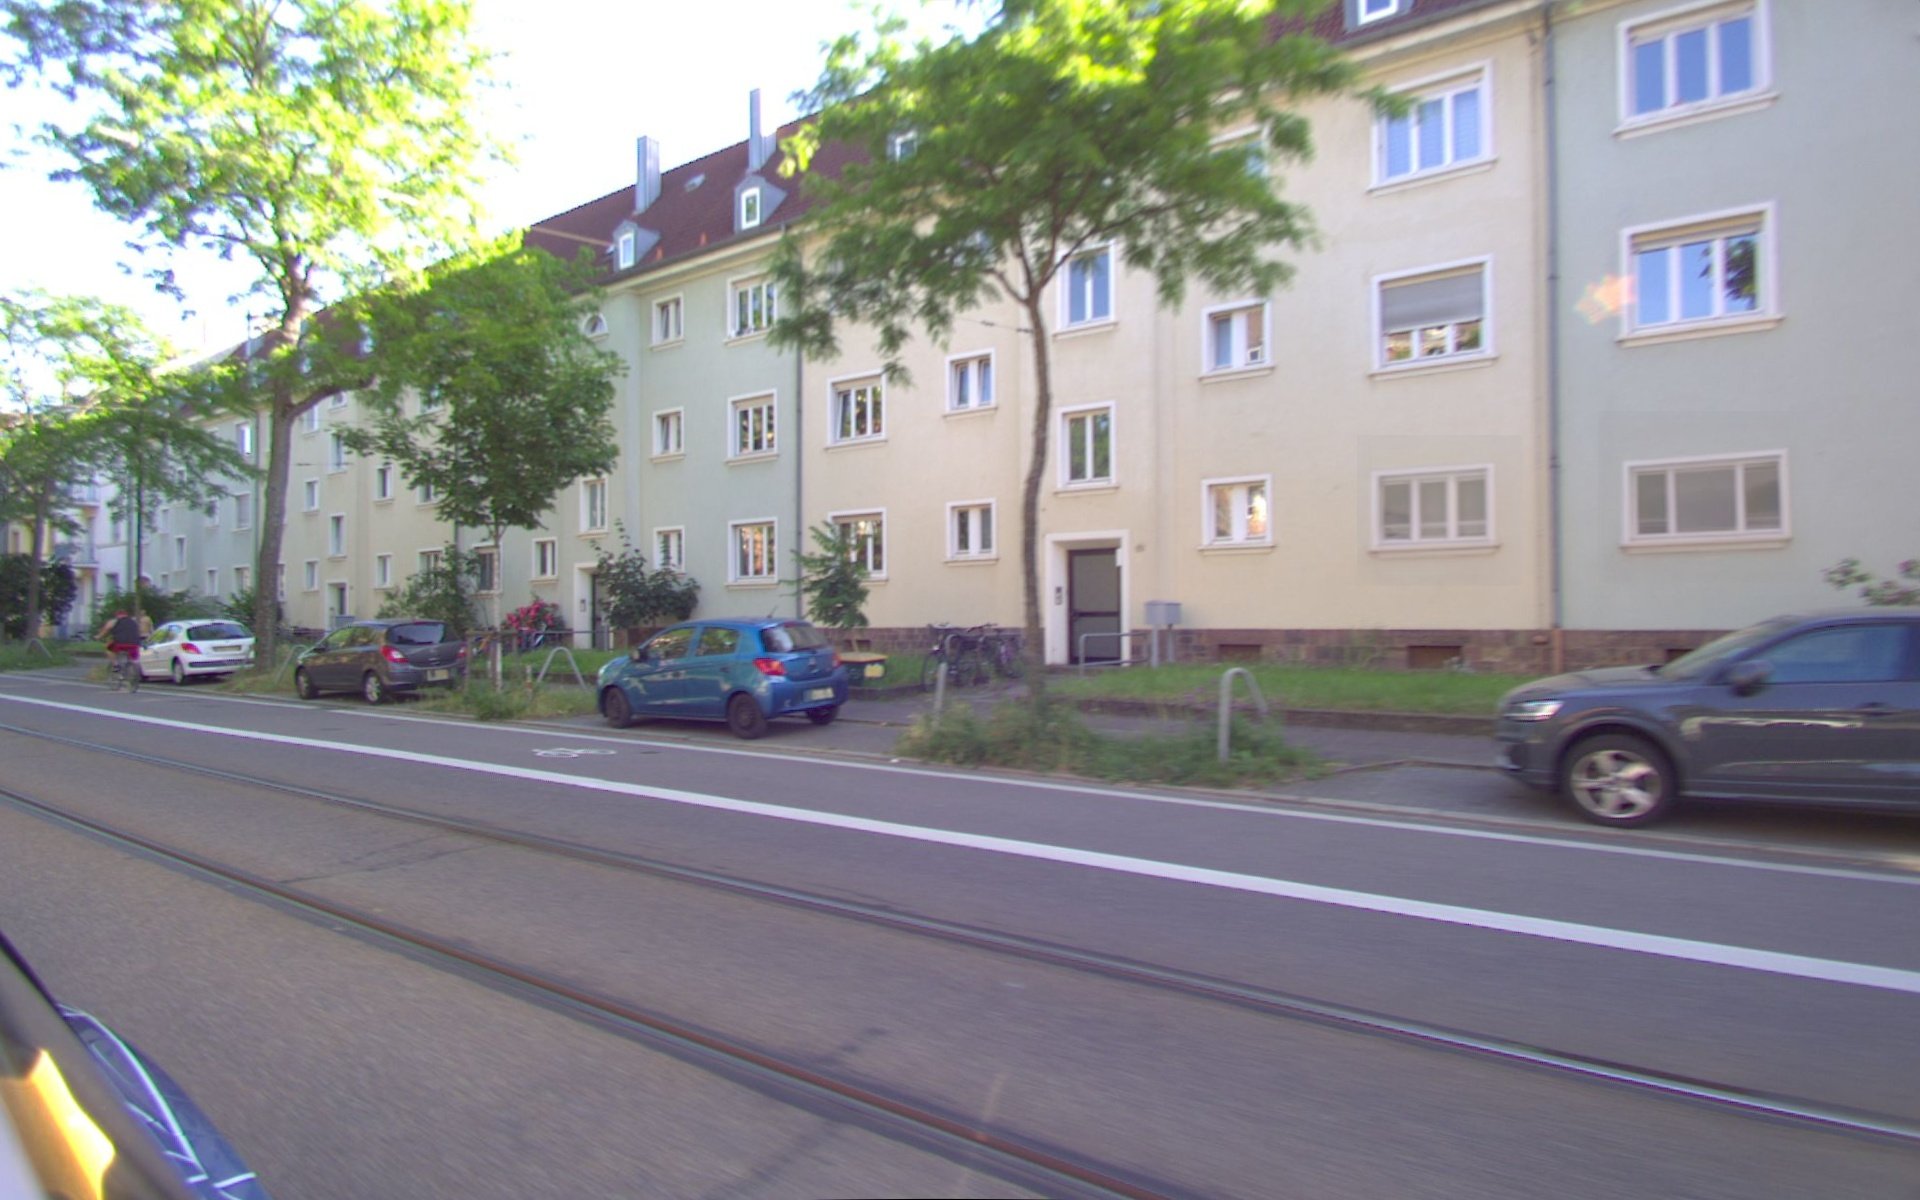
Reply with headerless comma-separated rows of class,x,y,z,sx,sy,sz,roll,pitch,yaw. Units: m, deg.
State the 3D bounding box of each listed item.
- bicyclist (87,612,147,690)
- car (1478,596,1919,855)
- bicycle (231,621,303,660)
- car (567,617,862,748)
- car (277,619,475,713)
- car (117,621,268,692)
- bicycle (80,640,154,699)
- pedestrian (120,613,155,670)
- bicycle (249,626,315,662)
bicyclist,-17.839,1.076,21.427,0.863,1.619,0.703,-1,-4,35
car,6.080,0.762,6.956,4.312,1.501,1.731,-1,1,34
bicycle,-22.937,1.331,33.510,0.520,1.186,1.892,-1,1,32
car,-3.348,1.010,13.573,3.919,1.467,1.548,-1,1,33
car,-10.862,1.154,18.768,3.750,1.496,1.673,-1,1,34
car,-18.494,1.305,24.351,4.069,1.496,1.688,-1,1,35
bicycle,-17.832,1.456,21.393,1.908,1.186,0.688,-1,-4,35
pedestrian,-26.842,1.346,33.019,0.811,1.815,0.685,-1,-2,35
bicycle,-24.199,1.550,36.137,0.520,1.186,1.892,-1,1,32
